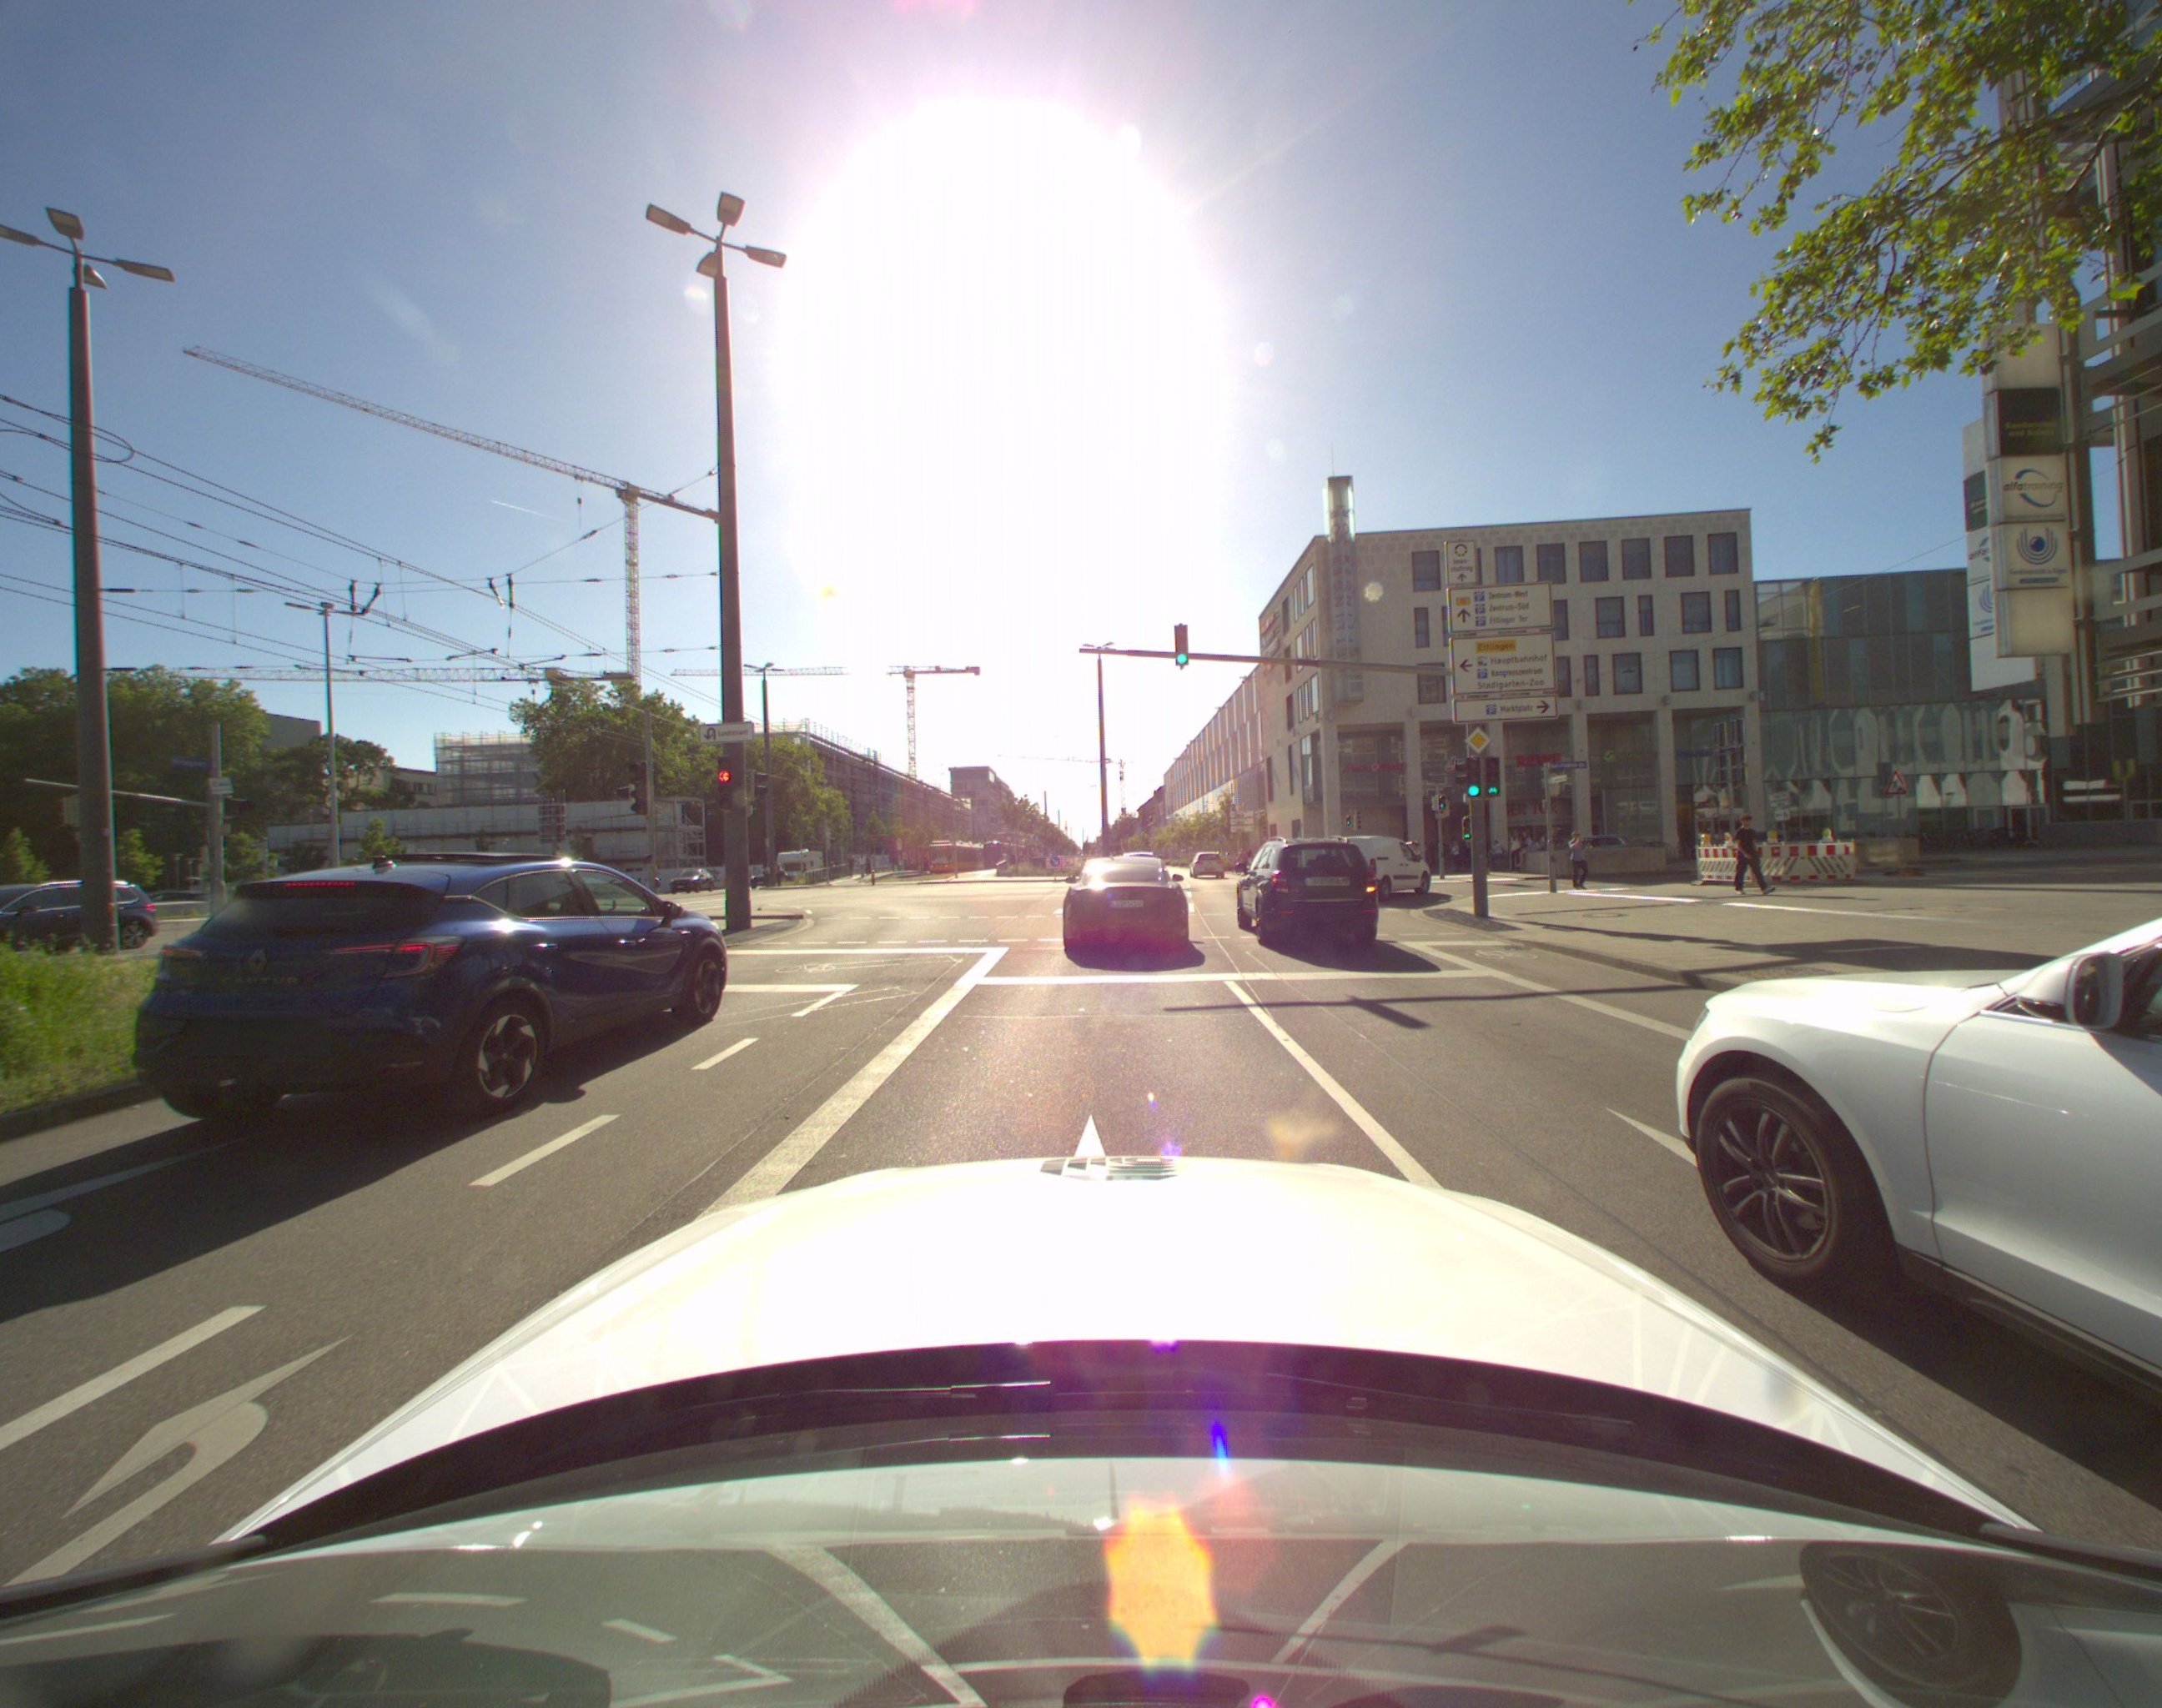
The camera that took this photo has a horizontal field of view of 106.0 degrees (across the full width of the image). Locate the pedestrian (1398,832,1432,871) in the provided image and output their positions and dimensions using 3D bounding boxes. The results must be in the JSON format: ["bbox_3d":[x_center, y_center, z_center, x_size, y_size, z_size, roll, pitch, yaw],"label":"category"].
[{"bbox_3d":[16.128,-0.119,39.361,0.963,1.801,1.523,-4,0,1],"label":"pedestrian"}]

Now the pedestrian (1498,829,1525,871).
[{"bbox_3d":[16.979,-0.162,32.140,0.659,1.612,0.525,-4,-1,-8],"label":"pedestrian"}]

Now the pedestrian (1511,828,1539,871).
[{"bbox_3d":[17.185,-0.162,31.519,0.659,1.612,0.525,-4,-1,-8],"label":"pedestrian"}]

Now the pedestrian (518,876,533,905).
[{"bbox_3d":[-35.621,2.308,52.237,0.704,1.823,0.589,-2,0,-36],"label":"pedestrian"}]

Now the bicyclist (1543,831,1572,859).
[{"bbox_3d":[25.358,-0.492,43.321,0.928,1.433,1.042,-2,0,5],"label":"bicyclist"}]

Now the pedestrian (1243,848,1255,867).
[{"bbox_3d":[15.293,0.305,74.066,0.705,1.658,0.899,-4,0,-3],"label":"pedestrian"}]

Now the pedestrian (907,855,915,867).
[{"bbox_3d":[-17.400,0.670,83.355,0.669,1.226,0.506,0,-1,-2],"label":"pedestrian"}]

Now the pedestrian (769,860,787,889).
[{"bbox_3d":[-20.111,1.351,54.116,0.797,1.823,0.976,-2,0,-2],"label":"pedestrian"}]

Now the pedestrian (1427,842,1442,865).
[{"bbox_3d":[25.665,-0.037,59.080,0.559,1.608,0.742,-3,1,-35],"label":"pedestrian"}]

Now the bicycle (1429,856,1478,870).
[{"bbox_3d":[19.935,0.477,43.632,2.183,0.671,1.073,-2,0,4],"label":"bicycle"}]

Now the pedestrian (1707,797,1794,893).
[{"bbox_3d":[14.718,-0.195,17.932,0.945,2.013,1.077,-2,0,-6],"label":"pedestrian"}]

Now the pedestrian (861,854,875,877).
[{"bbox_3d":[-17.008,0.904,65.073,0.797,1.823,0.976,-2,0,-2],"label":"pedestrian"}]

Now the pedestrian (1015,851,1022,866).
[{"bbox_3d":[-7.721,0.610,100.838,0.669,1.811,1.075,-2,-1,0],"label":"pedestrian"}]

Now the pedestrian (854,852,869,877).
[{"bbox_3d":[-16.496,0.773,61.188,0.797,1.823,0.976,-2,0,-2],"label":"pedestrian"}]

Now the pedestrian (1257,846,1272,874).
[{"bbox_3d":[11.795,0.395,52.452,0.655,1.702,0.697,-4,0,-1],"label":"pedestrian"}]

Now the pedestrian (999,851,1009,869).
[{"bbox_3d":[-7.699,0.581,81.308,0.872,1.775,1.188,0,0,-2],"label":"pedestrian"}]

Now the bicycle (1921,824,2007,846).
[{"bbox_3d":[48.674,-1.024,44.980,1.061,1.094,3.501,-2,0,4],"label":"bicycle"}]

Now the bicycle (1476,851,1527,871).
[{"bbox_3d":[22.428,0.381,43.469,2.183,0.943,1.073,-2,0,4],"label":"bicycle"}]

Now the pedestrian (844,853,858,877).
[{"bbox_3d":[-17.818,0.849,63.045,0.797,1.823,0.976,-2,0,-2],"label":"pedestrian"}]

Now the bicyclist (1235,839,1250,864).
[{"bbox_3d":[11.309,-0.151,57.139,0.723,1.737,0.997,-2,-1,-3],"label":"bicyclist"}]

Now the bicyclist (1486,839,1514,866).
[{"bbox_3d":[22.370,-0.081,43.469,0.928,1.396,1.078,-2,0,5],"label":"bicyclist"}]

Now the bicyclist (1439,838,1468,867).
[{"bbox_3d":[19.953,-0.095,43.645,1.017,1.476,1.073,-2,0,5],"label":"bicyclist"}]

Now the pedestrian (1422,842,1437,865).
[{"bbox_3d":[25.133,-0.037,58.682,0.559,1.608,0.742,-3,1,-35],"label":"pedestrian"}]

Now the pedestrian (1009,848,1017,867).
[{"bbox_3d":[-6.554,0.330,78.299,0.701,1.775,0.959,0,0,-2],"label":"pedestrian"}]

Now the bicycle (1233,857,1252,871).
[{"bbox_3d":[11.339,0.690,57.131,0.727,0.983,2.331,-2,0,-3],"label":"bicycle"}]

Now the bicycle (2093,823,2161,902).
[{"bbox_3d":[14.149,0.099,10.011,0.878,0.984,2.051,-2,0,1],"label":"bicycle"}]

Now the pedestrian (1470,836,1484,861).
[{"bbox_3d":[28.852,-0.396,59.320,0.559,1.762,0.643,-3,0,-35],"label":"pedestrian"}]

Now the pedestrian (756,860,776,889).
[{"bbox_3d":[-20.348,1.332,52.632,0.792,1.823,0.887,-2,0,33],"label":"pedestrian"}]

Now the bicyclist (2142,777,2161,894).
[{"bbox_3d":[14.149,-0.249,10.063,0.878,1.477,0.884,-2,0,1],"label":"bicyclist"}]

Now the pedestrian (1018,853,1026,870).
[{"bbox_3d":[-5.949,0.731,81.998,0.739,1.628,0.862,-2,-1,2],"label":"pedestrian"}]

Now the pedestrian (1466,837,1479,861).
[{"bbox_3d":[28.302,-0.364,58.892,0.559,1.762,0.643,-3,0,-35],"label":"pedestrian"}]

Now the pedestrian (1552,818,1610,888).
[{"bbox_3d":[14.790,-0.030,24.108,0.947,2.013,1.076,-2,0,-10],"label":"pedestrian"}]

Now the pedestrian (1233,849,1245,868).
[{"bbox_3d":[14.400,0.421,74.217,0.819,1.658,0.899,-2,0,-3],"label":"pedestrian"}]

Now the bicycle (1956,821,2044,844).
[{"bbox_3d":[50.255,-1.155,44.618,1.061,1.094,3.501,-2,0,4],"label":"bicycle"}]
